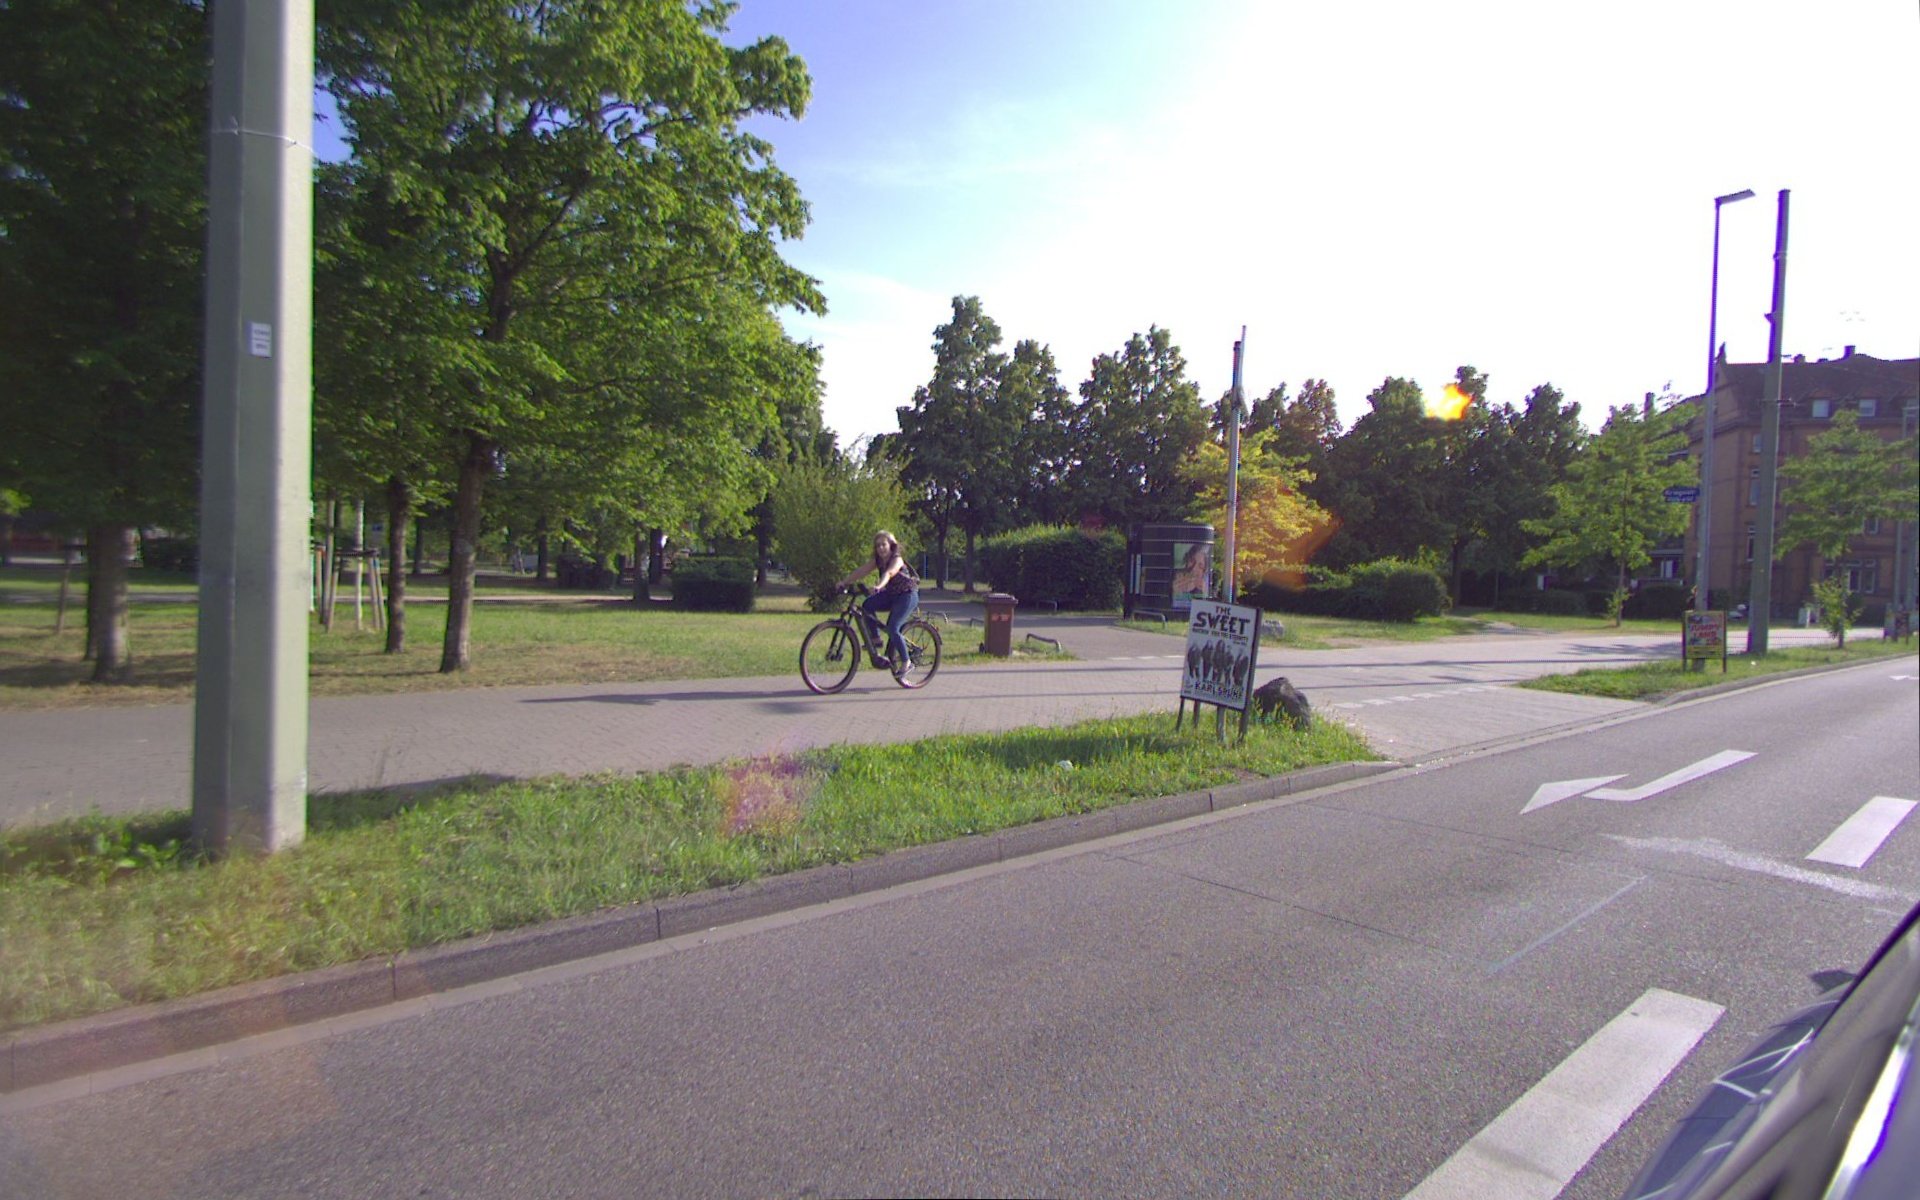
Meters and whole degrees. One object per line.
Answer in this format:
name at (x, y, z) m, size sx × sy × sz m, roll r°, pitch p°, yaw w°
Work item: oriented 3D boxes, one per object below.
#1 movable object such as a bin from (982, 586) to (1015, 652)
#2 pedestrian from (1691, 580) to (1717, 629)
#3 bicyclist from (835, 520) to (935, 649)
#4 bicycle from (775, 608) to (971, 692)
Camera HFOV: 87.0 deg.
movable object such as a bin at (0.562, 0.277, 15.025) m, size 0.447 × 0.929 × 0.605 m, roll 2°, pitch 2°, yaw 1°
pedestrian at (26.064, 0.148, 35.452) m, size 0.607 × 1.706 × 0.621 m, roll 1°, pitch 0°, yaw -40°
bicyclist at (-0.781, -0.167, 10.546) m, size 0.853 × 1.278 × 0.535 m, roll 1°, pitch 2°, yaw -41°
bicycle at (-0.857, 0.484, 10.552) m, size 2.130 × 0.766 × 0.496 m, roll 0°, pitch 3°, yaw -41°
